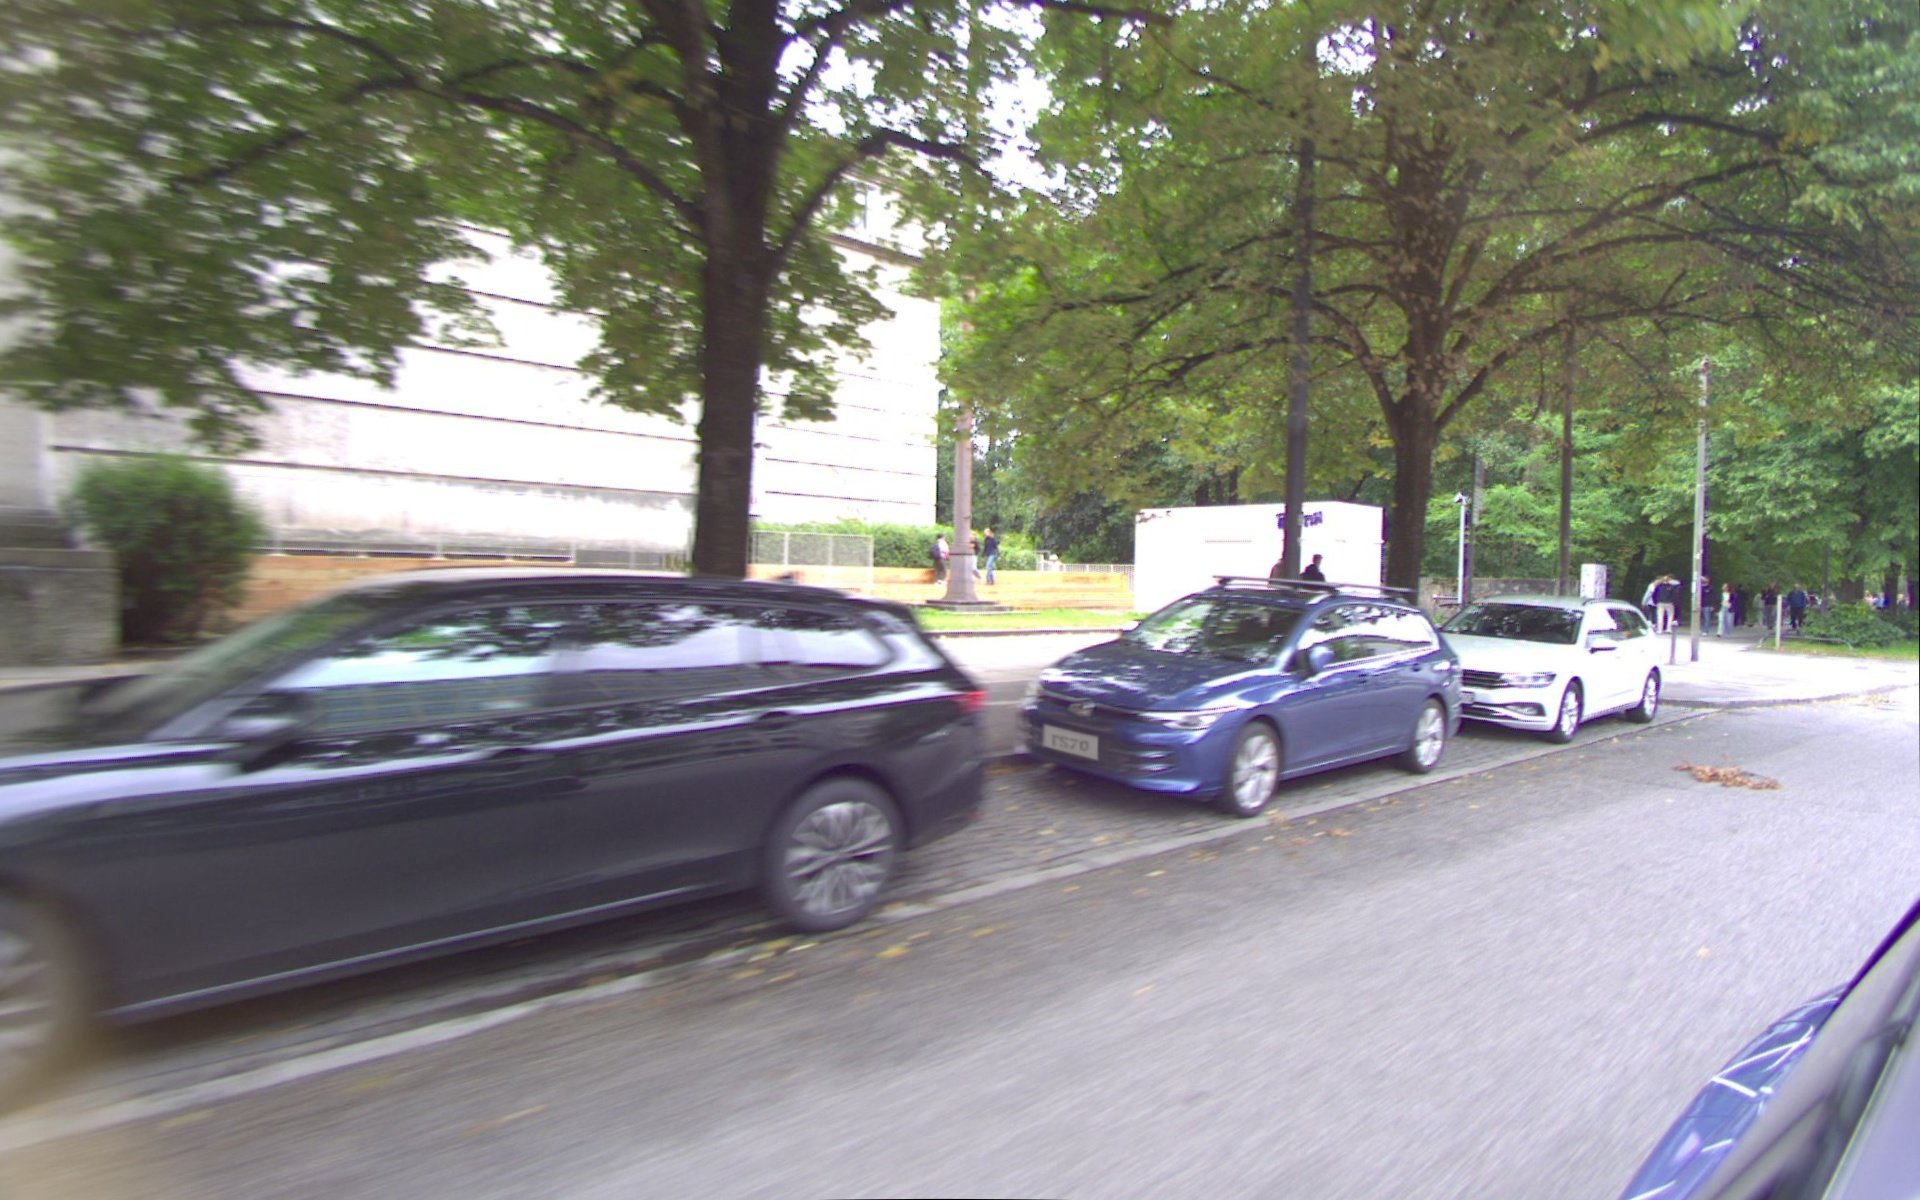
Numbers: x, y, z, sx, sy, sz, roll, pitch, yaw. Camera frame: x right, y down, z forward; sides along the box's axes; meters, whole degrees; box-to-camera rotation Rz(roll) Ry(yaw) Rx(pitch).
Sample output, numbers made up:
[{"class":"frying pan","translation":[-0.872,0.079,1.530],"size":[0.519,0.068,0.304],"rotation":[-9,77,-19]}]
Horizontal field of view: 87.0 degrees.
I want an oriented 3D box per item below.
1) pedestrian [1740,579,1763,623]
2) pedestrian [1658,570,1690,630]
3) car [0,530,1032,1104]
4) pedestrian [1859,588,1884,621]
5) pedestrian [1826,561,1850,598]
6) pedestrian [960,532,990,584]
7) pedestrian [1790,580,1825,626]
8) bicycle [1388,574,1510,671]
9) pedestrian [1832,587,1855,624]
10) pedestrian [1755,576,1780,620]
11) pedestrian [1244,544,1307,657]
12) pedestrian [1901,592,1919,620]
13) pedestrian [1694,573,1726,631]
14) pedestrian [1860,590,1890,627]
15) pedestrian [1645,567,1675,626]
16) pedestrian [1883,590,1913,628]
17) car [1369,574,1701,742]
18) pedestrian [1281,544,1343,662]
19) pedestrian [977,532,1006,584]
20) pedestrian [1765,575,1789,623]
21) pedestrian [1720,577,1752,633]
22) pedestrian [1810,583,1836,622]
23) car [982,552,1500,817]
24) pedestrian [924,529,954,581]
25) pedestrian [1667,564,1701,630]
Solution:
[{"class":"pedestrian","translation":[30.506,0.031,38.986],"size":[0.543,1.697,0.582],"rotation":[0,0,-37]},{"class":"pedestrian","translation":[22.140,-0.015,31.376],"size":[0.590,1.831,0.718],"rotation":[3,3,26]},{"class":"car","translation":[-2.004,0.526,4.110],"size":[4.690,1.483,1.728],"rotation":[0,2,-40]},{"class":"pedestrian","translation":[45.495,0.228,50.512],"size":[0.676,1.664,0.758],"rotation":[0,0,-25]},{"class":"pedestrian","translation":[37.007,-0.874,42.675],"size":[0.552,1.534,0.682],"rotation":[1,0,-39]},{"class":"pedestrian","translation":[0.459,-1.256,30.407],"size":[0.757,1.513,0.488],"rotation":[0,0,-40]},{"class":"pedestrian","translation":[32.738,0.123,39.081],"size":[0.832,1.759,0.758],"rotation":[0,0,-25]},{"class":"bicycle","translation":[6.815,0.285,14.019],"size":[2.574,1.246,0.629],"rotation":[0,0,-43]},{"class":"pedestrian","translation":[45.677,0.284,52.310],"size":[0.683,1.896,0.608],"rotation":[0,0,15]},{"class":"pedestrian","translation":[33.374,-0.093,41.822],"size":[0.767,1.796,0.632],"rotation":[0,0,-37]},{"class":"pedestrian","translation":[5.538,0.004,17.751],"size":[0.757,1.934,0.765],"rotation":[1,0,-40]},{"class":"pedestrian","translation":[64.383,0.385,68.561],"size":[0.715,1.898,0.814],"rotation":[0,0,-38]},{"class":"pedestrian","translation":[23.355,0.064,31.500],"size":[0.782,1.786,0.609],"rotation":[0,0,-37]},{"class":"pedestrian","translation":[41.583,0.395,45.978],"size":[0.832,1.664,0.758],"rotation":[0,0,-25]},{"class":"pedestrian","translation":[22.385,-0.134,32.365],"size":[0.590,1.831,0.718],"rotation":[3,3,26]},{"class":"pedestrian","translation":[41.959,0.402,45.272],"size":[0.832,1.664,0.758],"rotation":[0,0,-25]},{"class":"car","translation":[6.862,0.530,11.853],"size":[4.667,1.569,1.832],"rotation":[0,2,-40]},{"class":"pedestrian","translation":[5.957,0.048,17.132],"size":[0.757,1.934,0.700],"rotation":[1,0,-40]},{"class":"pedestrian","translation":[0.939,-1.252,30.155],"size":[0.757,1.513,0.488],"rotation":[0,0,-40]},{"class":"pedestrian","translation":[31.998,-0.044,39.627],"size":[0.834,1.845,0.589],"rotation":[0,0,-40]},{"class":"pedestrian","translation":[23.772,0.153,31.012],"size":[0.739,1.702,0.609],"rotation":[0,0,-37]},{"class":"pedestrian","translation":[35.829,0.105,42.007],"size":[0.857,1.586,0.682],"rotation":[0,0,-40]},{"class":"car","translation":[2.448,0.467,8.107],"size":[4.504,1.569,1.728],"rotation":[0,2,-40]},{"class":"pedestrian","translation":[-0.631,-1.332,29.984],"size":[0.757,1.513,0.488],"rotation":[0,0,-40]},{"class":"pedestrian","translation":[22.919,-0.092,32.038],"size":[0.711,2.038,0.596],"rotation":[0,3,-40]}]
